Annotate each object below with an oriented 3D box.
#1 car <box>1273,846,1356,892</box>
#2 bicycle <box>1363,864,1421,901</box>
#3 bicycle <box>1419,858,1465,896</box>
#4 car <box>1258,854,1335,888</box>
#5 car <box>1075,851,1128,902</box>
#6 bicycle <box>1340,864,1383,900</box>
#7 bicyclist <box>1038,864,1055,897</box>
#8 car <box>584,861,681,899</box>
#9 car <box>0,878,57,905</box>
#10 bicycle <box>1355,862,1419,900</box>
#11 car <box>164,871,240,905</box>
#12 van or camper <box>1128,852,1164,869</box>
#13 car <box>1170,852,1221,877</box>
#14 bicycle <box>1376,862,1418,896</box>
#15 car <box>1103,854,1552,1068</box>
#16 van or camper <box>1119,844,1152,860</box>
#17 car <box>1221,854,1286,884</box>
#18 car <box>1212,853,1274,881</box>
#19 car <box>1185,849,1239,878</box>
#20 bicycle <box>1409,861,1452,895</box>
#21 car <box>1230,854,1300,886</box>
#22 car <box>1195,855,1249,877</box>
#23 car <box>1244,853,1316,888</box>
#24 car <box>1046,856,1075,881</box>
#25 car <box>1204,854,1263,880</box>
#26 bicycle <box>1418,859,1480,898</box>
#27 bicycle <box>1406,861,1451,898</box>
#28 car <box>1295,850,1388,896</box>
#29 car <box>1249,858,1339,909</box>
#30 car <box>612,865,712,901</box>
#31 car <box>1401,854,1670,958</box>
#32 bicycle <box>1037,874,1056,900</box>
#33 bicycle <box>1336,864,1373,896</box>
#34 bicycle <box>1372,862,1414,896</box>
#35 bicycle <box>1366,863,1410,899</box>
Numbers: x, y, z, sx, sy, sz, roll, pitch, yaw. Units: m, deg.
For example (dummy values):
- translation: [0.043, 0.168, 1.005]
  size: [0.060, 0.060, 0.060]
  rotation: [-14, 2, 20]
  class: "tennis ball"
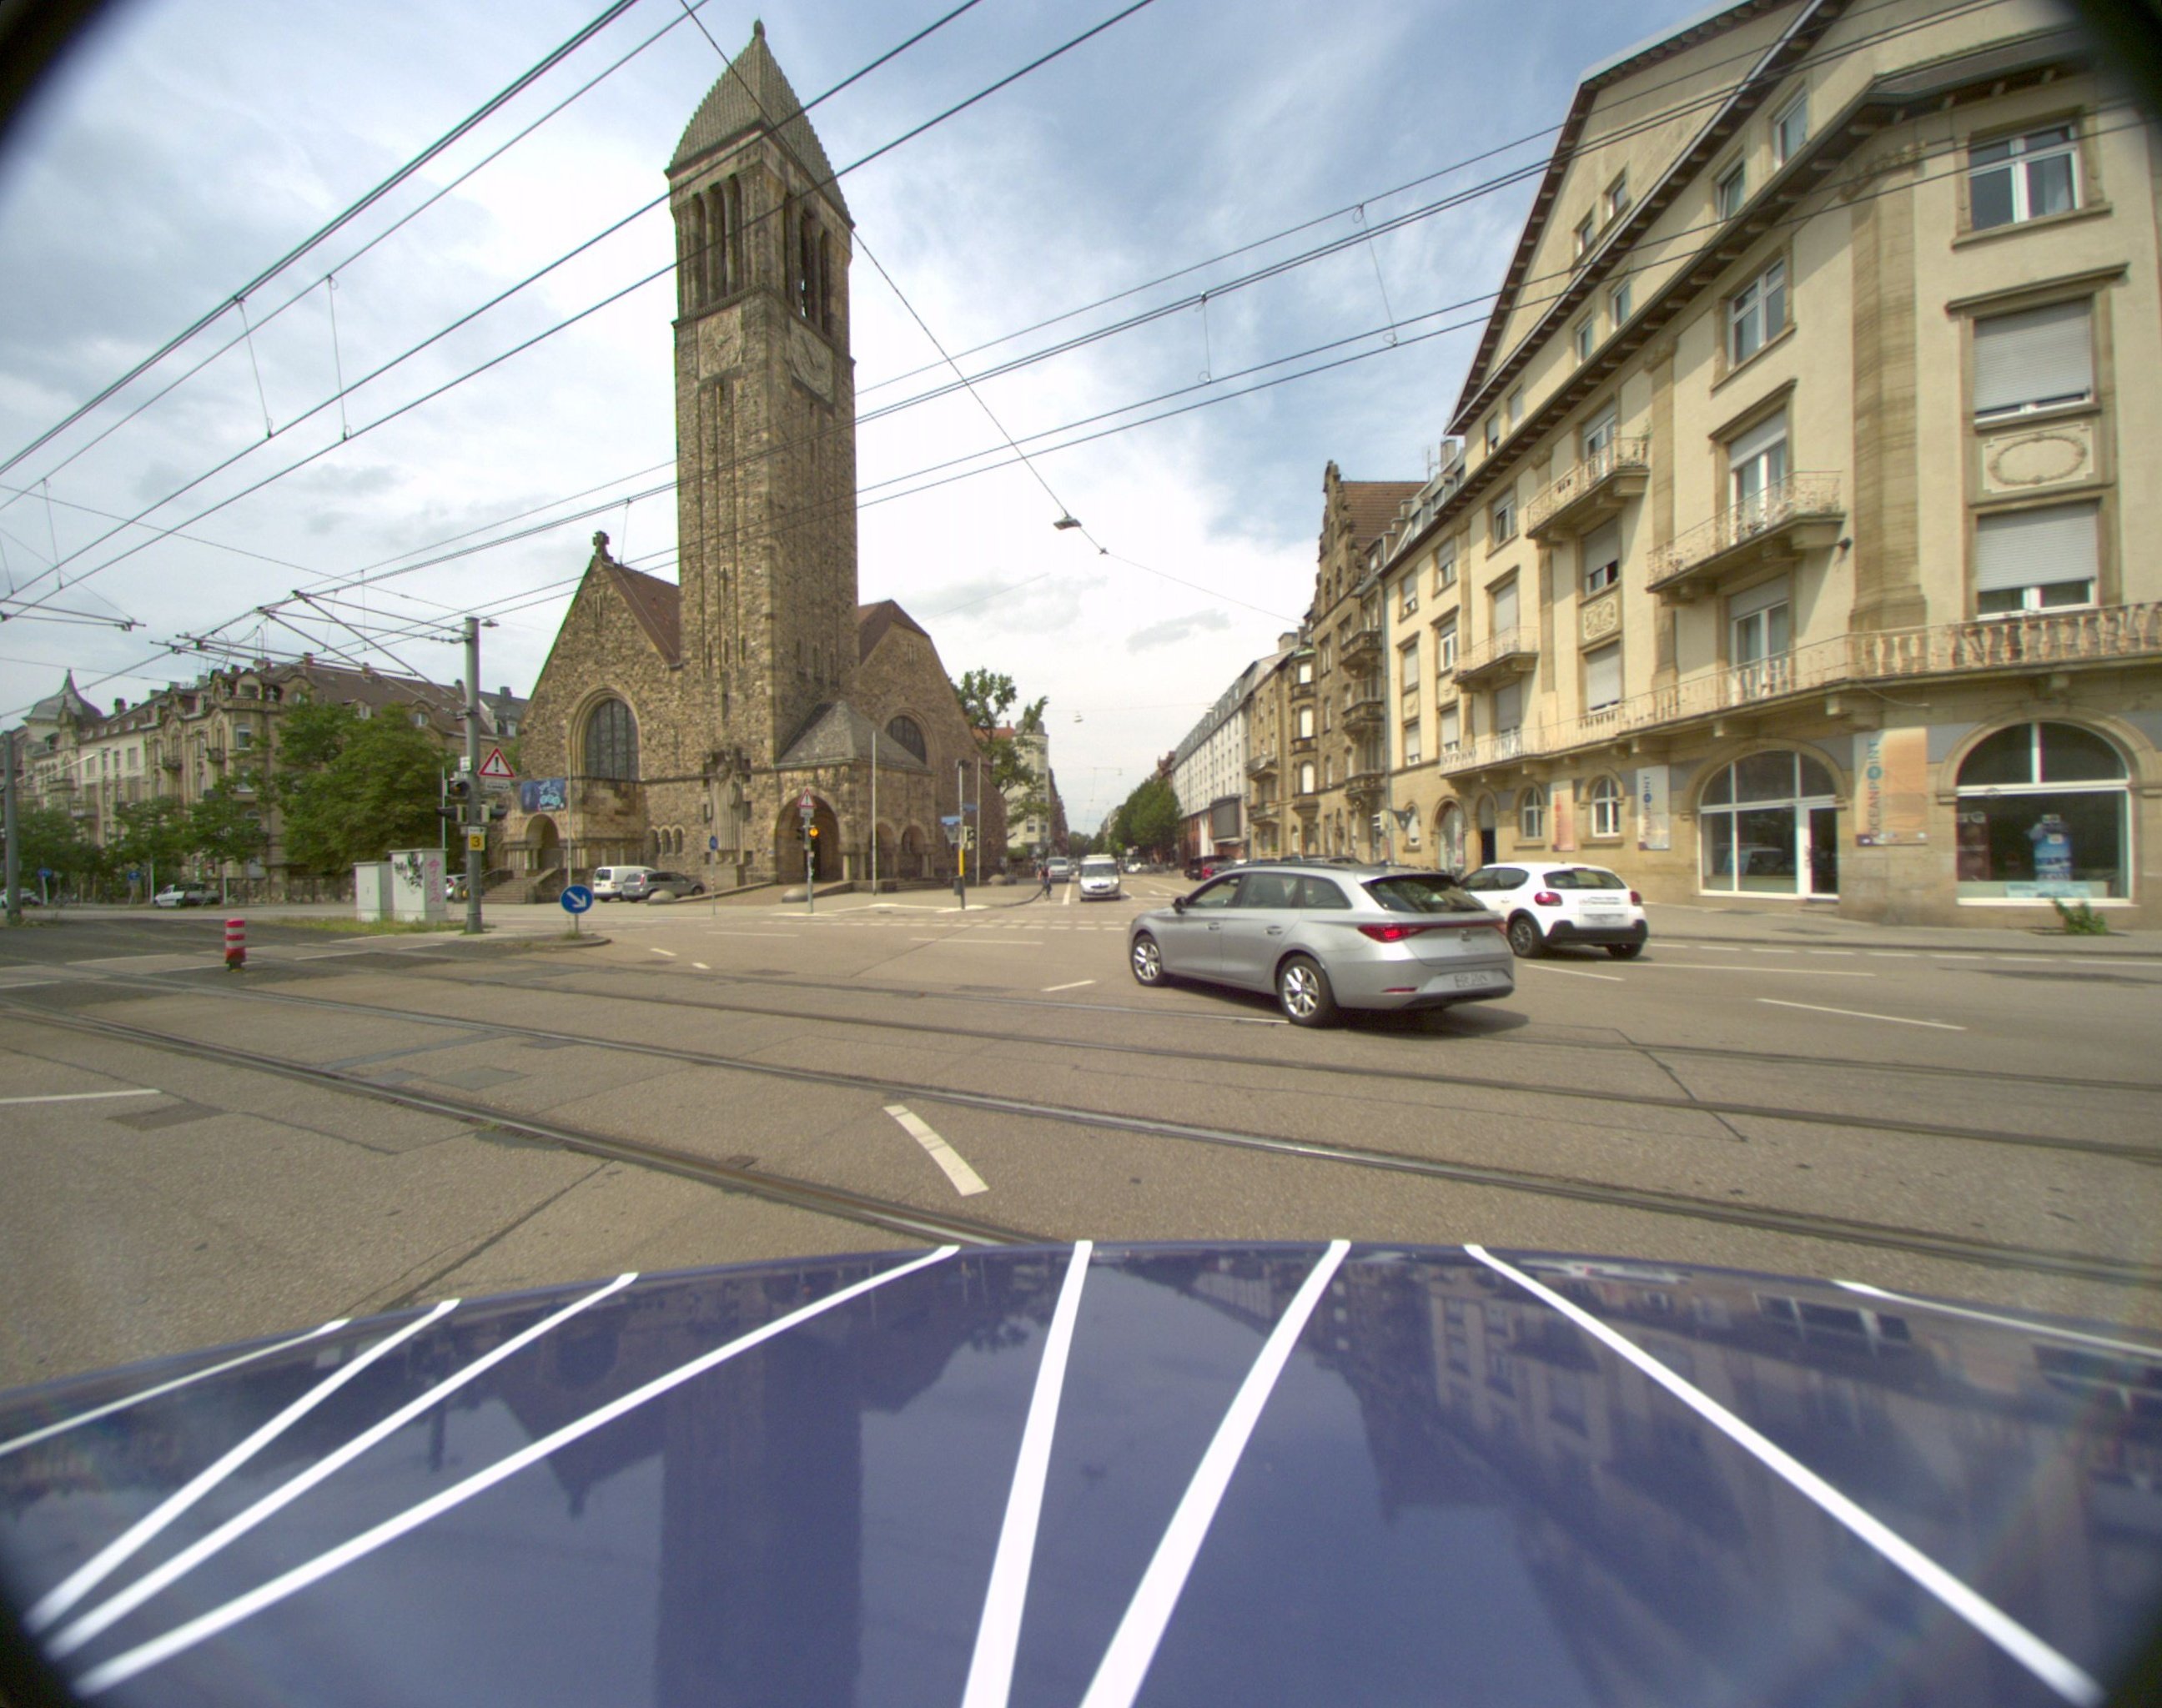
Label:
- translation: [10.929, 0.687, 35.466]
  size: [3.834, 1.808, 1.755]
  rotation: [-4, -1, -39]
  class: "car"
- translation: [10.562, 0.959, 25.817]
  size: [1.821, 1.185, 0.397]
  rotation: [-2, 0, -3]
  class: "bicycle"
- translation: [12.351, 0.783, 25.995]
  size: [1.345, 1.185, 0.397]
  rotation: [-4, 0, -6]
  class: "bicycle"
- translation: [10.826, 0.829, 38.085]
  size: [3.835, 1.526, 1.754]
  rotation: [-1, 0, -39]
  class: "car"
- translation: [0.875, 0.917, 33.191]
  size: [2.082, 2.039, 4.680]
  rotation: [-1, 0, 1]
  class: "car"
- translation: [10.023, 0.981, 27.179]
  size: [1.345, 1.185, 0.397]
  rotation: [-4, 0, -6]
  class: "bicycle"
- translation: [-1.585, 1.205, 34.875]
  size: [0.588, 1.488, 0.840]
  rotation: [-3, 0, 5]
  class: "bicyclist"
- translation: [-23.666, 1.338, 40.243]
  size: [1.995, 1.871, 3.961]
  rotation: [-1, 0, 25]
  class: "car"
- translation: [-83.544, 2.932, 60.114]
  size: [3.990, 2.002, 2.003]
  rotation: [-1, 0, 22]
  class: "car"
- translation: [9.939, 0.887, 24.727]
  size: [1.872, 1.185, 0.456]
  rotation: [-2, 0, 19]
  class: "bicycle"
- translation: [-54.615, 2.093, 47.218]
  size: [3.990, 2.002, 2.003]
  rotation: [-1, 0, 25]
  class: "car"
- translation: [7.784, 0.767, 91.335]
  size: [3.998, 2.002, 1.999]
  rotation: [-1, 0, -3]
  class: "van or camper"
- translation: [9.347, 0.841, 62.058]
  size: [3.834, 1.675, 1.755]
  rotation: [-4, -1, -34]
  class: "car"
- translation: [11.461, 0.910, 27.582]
  size: [1.345, 1.185, 0.397]
  rotation: [-1, 0, -2]
  class: "bicycle"
- translation: [2.068, 0.790, 8.066]
  size: [1.771, 1.515, 4.838]
  rotation: [-1, 0, -23]
  class: "car"
- translation: [7.189, -0.269, 99.983]
  size: [4.000, 2.002, 1.998]
  rotation: [-1, 0, -8]
  class: "van or camper"
- translation: [10.834, 0.927, 47.747]
  size: [3.834, 1.526, 1.755]
  rotation: [-4, -1, -34]
  class: "car"
- translation: [10.787, 0.840, 50.458]
  size: [3.834, 1.526, 1.755]
  rotation: [-4, -1, -34]
  class: "car"
- translation: [10.241, 0.739, 59.265]
  size: [3.834, 1.882, 1.755]
  rotation: [-4, -1, -34]
  class: "car"
- translation: [12.452, 0.843, 27.067]
  size: [1.345, 1.185, 0.397]
  rotation: [-1, 0, -1]
  class: "bicycle"
- translation: [10.706, 0.915, 44.187]
  size: [3.834, 1.526, 1.755]
  rotation: [-4, -1, -34]
  class: "car"
- translation: [10.478, 0.897, 56.414]
  size: [3.835, 1.526, 1.755]
  rotation: [-1, 0, -34]
  class: "car"
- translation: [10.838, 0.881, 41.310]
  size: [3.834, 1.526, 1.755]
  rotation: [-4, -1, -39]
  class: "car"
- translation: [-1.596, 1.083, 60.478]
  size: [2.082, 1.852, 4.680]
  rotation: [-1, 0, 1]
  class: "car"
- translation: [10.799, 0.895, 53.761]
  size: [3.834, 1.526, 1.755]
  rotation: [-4, -1, -34]
  class: "car"
- translation: [12.279, 0.815, 25.359]
  size: [1.830, 1.185, 0.397]
  rotation: [-3, 0, -1]
  class: "bicycle"
- translation: [12.165, 0.898, 26.575]
  size: [1.345, 1.185, 0.397]
  rotation: [-4, 0, -6]
  class: "bicycle"
- translation: [11.081, 0.793, 32.219]
  size: [4.043, 1.580, 1.755]
  rotation: [-4, -1, -39]
  class: "car"
- translation: [6.947, 0.912, 25.203]
  size: [1.768, 1.515, 3.999]
  rotation: [0, 0, -1]
  class: "car"
- translation: [-21.199, 1.433, 38.617]
  size: [1.995, 1.641, 4.007]
  rotation: [-1, 0, 25]
  class: "car"
- translation: [7.324, 0.745, 12.838]
  size: [1.739, 1.423, 4.239]
  rotation: [-1, 0, -5]
  class: "car"
- translation: [-1.579, 1.493, 35.015]
  size: [0.598, 1.079, 1.813]
  rotation: [-3, 0, 5]
  class: "bicycle"
- translation: [10.480, 0.986, 29.157]
  size: [1.347, 1.185, 0.397]
  rotation: [-1, 1, -17]
  class: "bicycle"
- translation: [11.521, 0.914, 28.091]
  size: [1.345, 1.185, 0.397]
  rotation: [-3, 0, -5]
  class: "bicycle"
- translation: [10.720, 0.937, 26.522]
  size: [1.345, 1.185, 0.397]
  rotation: [-3, 0, -3]
  class: "bicycle"
